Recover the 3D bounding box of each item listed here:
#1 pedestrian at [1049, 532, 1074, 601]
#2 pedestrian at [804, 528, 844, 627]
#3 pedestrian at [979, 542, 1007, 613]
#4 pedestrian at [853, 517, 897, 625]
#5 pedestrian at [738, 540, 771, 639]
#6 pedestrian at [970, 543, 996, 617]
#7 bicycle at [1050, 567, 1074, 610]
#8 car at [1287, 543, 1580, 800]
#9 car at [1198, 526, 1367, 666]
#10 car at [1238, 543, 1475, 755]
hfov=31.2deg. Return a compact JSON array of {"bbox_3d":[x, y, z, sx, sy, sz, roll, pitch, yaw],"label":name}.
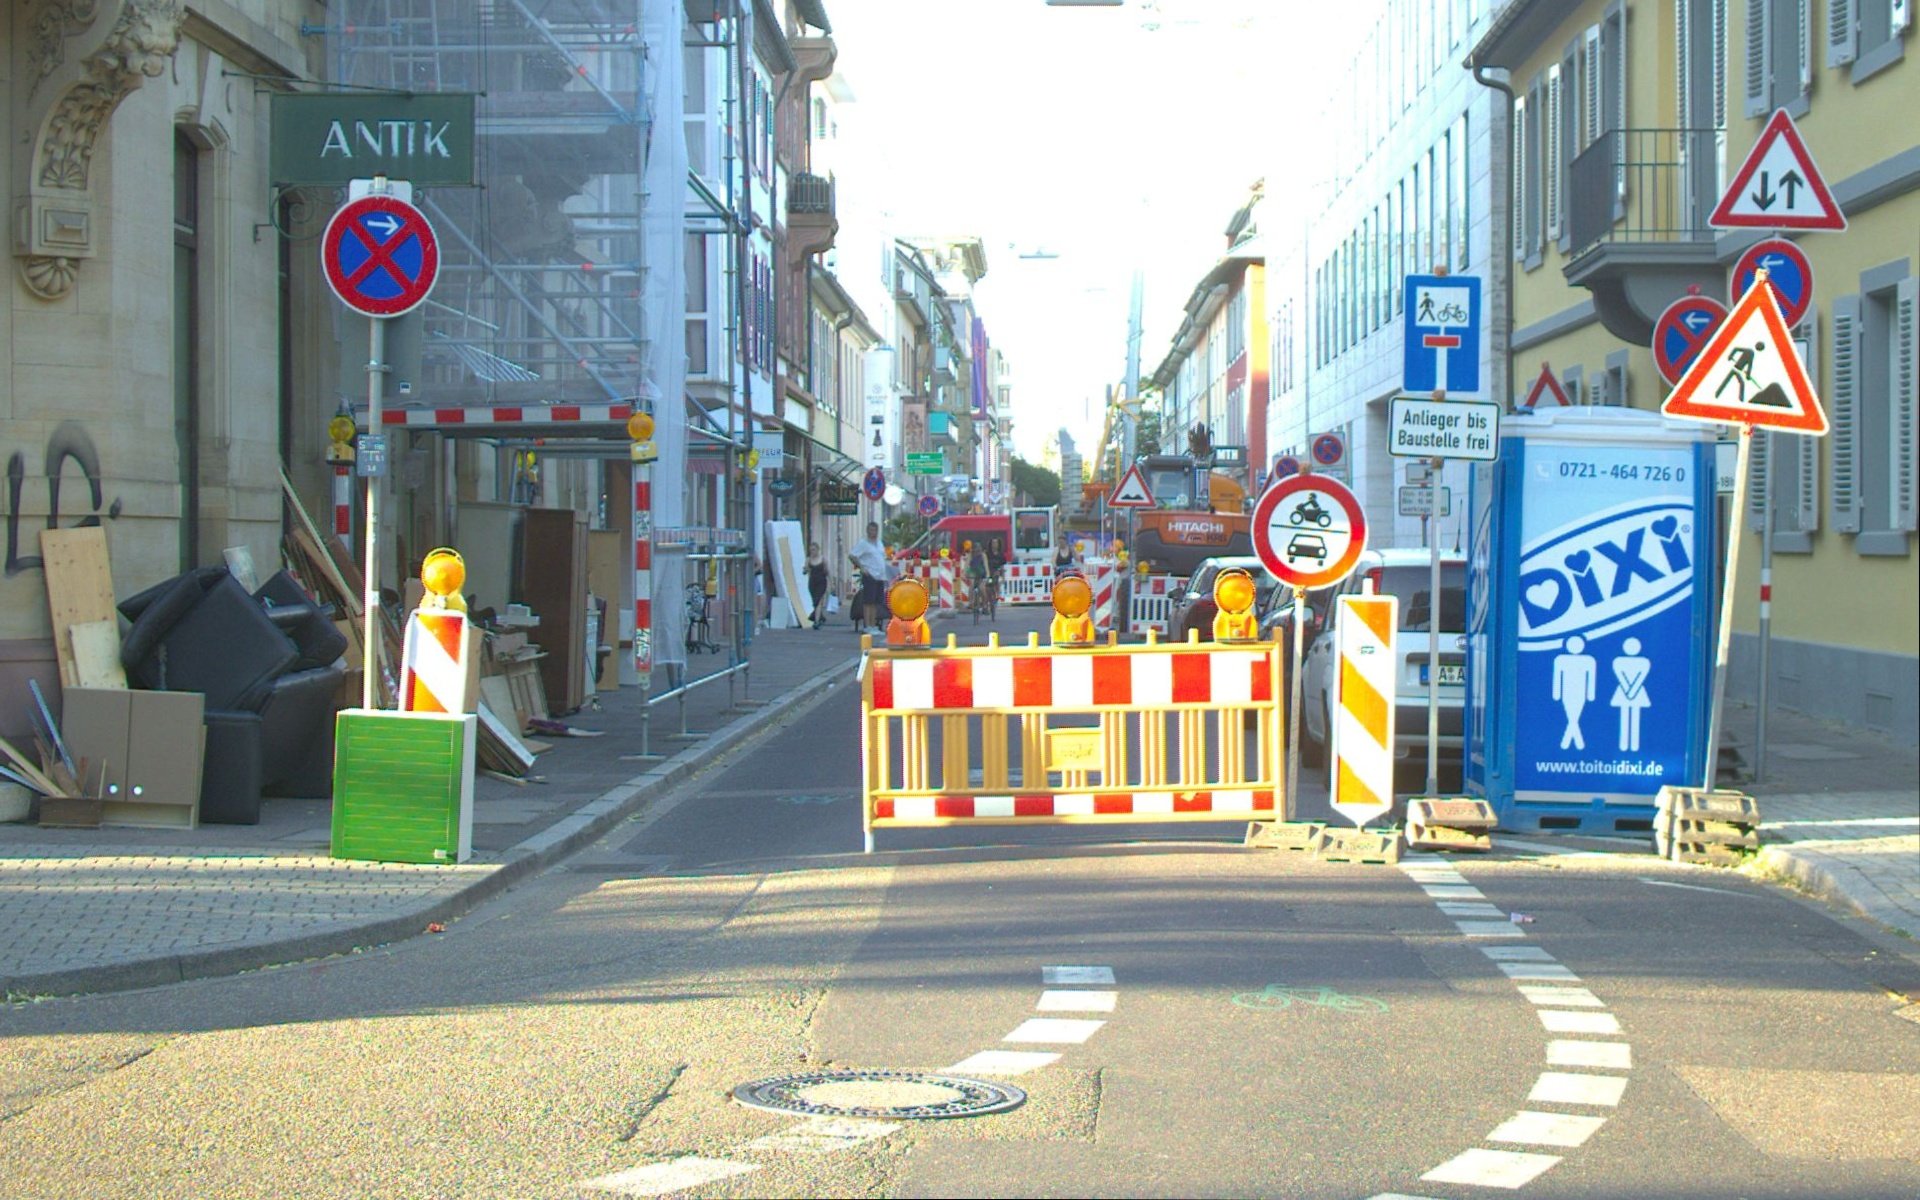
[{"bbox_3d":[2.138,-0.705,72.286,0.504,1.456,0.512,0,1,4],"label":"pedestrian"},{"bbox_3d":[-2.395,-0.401,60.372,0.676,1.727,0.700,0,0,-1],"label":"pedestrian"},{"bbox_3d":[0.677,-0.469,70.989,0.504,1.456,0.512,0,1,8],"label":"pedestrian"},{"bbox_3d":[-1.396,-0.474,56.247,0.504,1.758,0.512,-1,1,-39],"label":"pedestrian"},{"bbox_3d":[-3.250,-0.167,54.398,0.343,1.561,0.420,1,0,24],"label":"pedestrian"},{"bbox_3d":[0.453,-0.392,68.084,0.504,1.456,0.512,0,1,2],"label":"pedestrian"},{"bbox_3d":[2.143,-0.251,72.406,0.504,0.881,1.477,0,1,2],"label":"bicycle"},{"bbox_3d":[3.016,0.405,22.407,1.540,1.515,3.221,1,1,2],"label":"car"},{"bbox_3d":[3.613,-0.077,38.907,1.717,1.515,3.221,0,1,2],"label":"car"},{"bbox_3d":[3.039,0.326,26.970,1.540,1.515,3.979,0,1,2],"label":"car"}]
